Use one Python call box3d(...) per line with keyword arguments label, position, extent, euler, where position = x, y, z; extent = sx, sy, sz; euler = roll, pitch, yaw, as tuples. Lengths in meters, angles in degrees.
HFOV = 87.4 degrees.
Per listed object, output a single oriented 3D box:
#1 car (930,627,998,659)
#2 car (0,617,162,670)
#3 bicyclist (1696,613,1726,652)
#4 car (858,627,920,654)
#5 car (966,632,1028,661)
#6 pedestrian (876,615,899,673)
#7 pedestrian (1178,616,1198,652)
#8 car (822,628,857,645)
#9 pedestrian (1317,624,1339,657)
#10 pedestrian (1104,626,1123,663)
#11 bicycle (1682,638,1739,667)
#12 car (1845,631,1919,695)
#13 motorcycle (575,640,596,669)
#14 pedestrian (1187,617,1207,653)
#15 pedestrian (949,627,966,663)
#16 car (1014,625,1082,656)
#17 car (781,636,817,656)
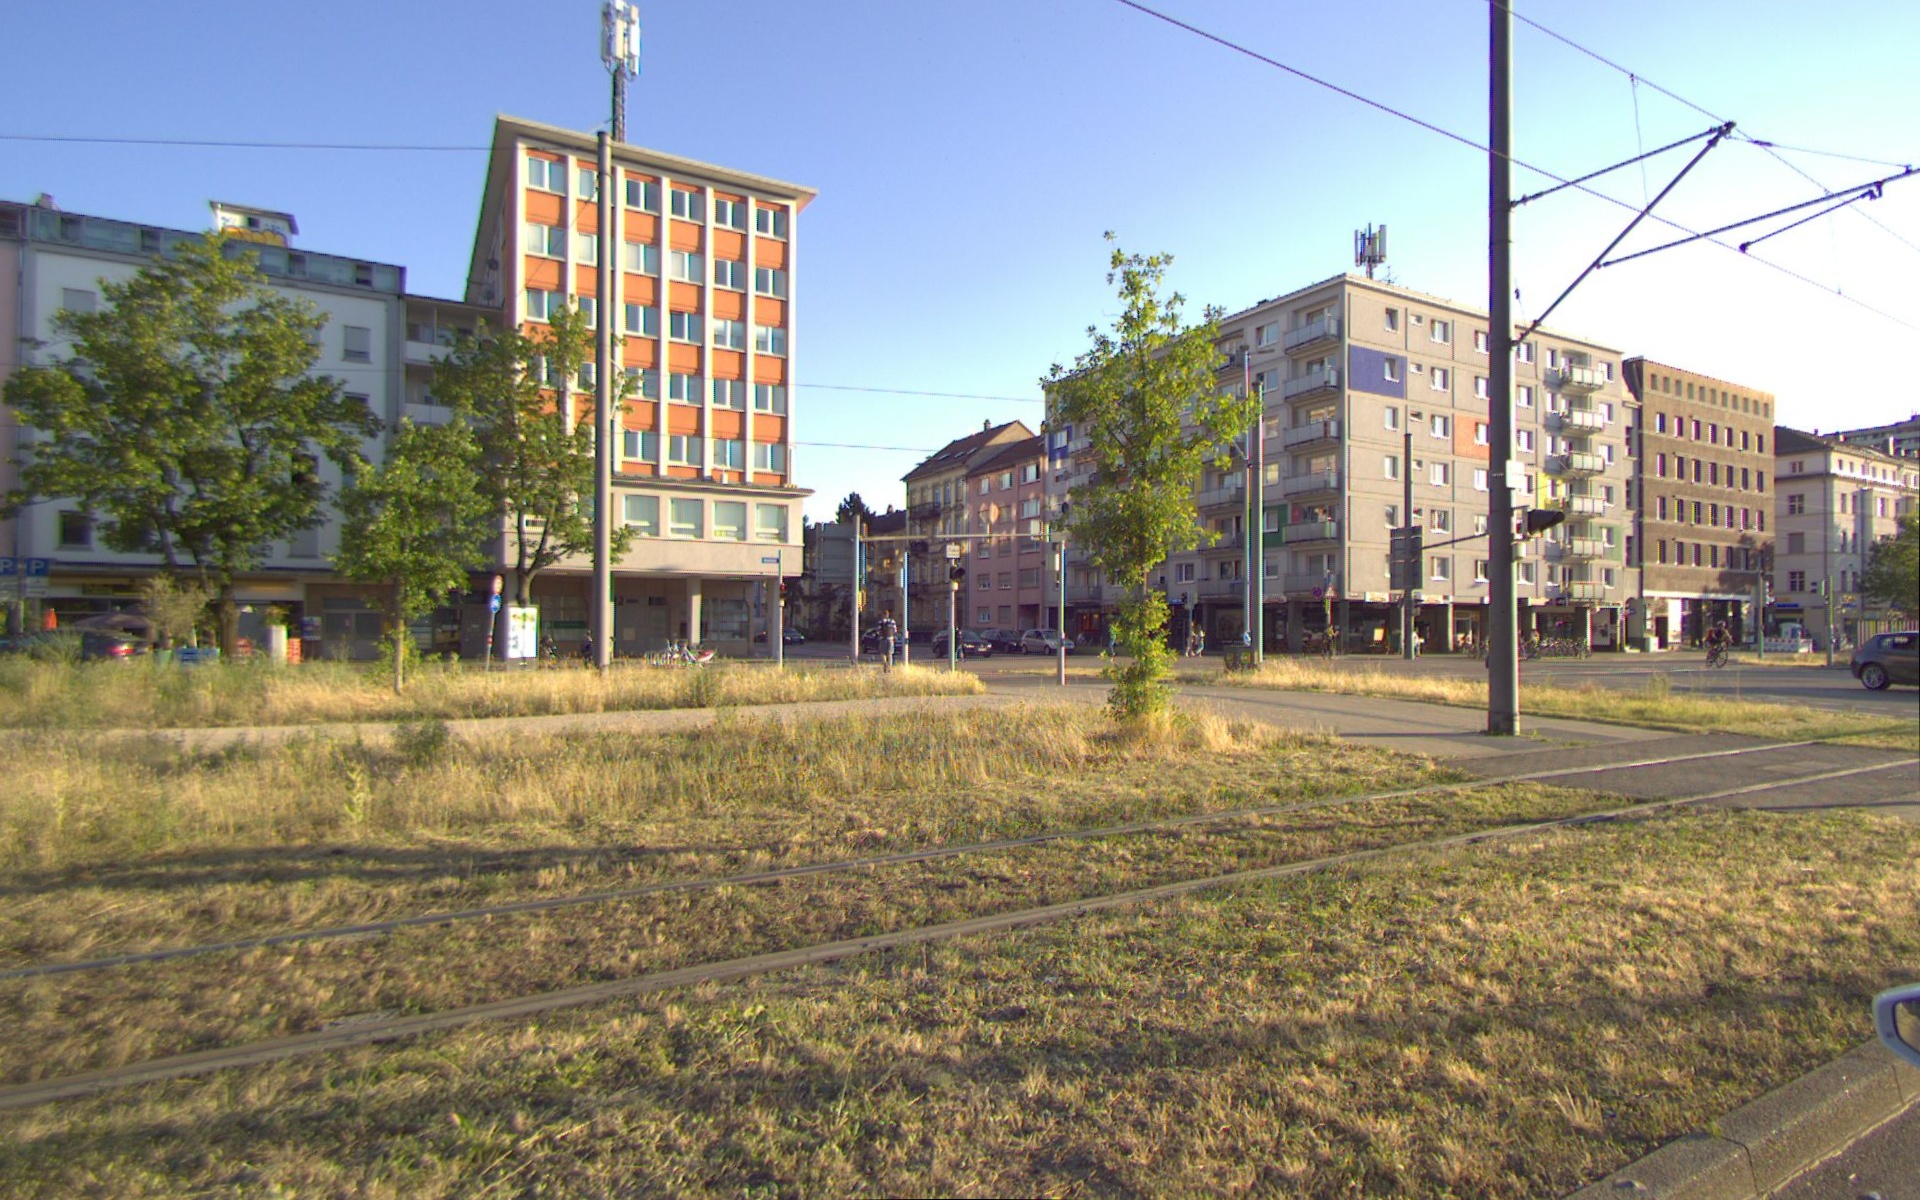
box3d(label="car", position=(0.179, 2.271, 53.561), extent=(1.785, 1.606, 3.840), euler=(0, -1, -35))
box3d(label="car", position=(-27.780, 1.342, 31.320), extent=(4.212, 1.547, 1.758), euler=(-1, -1, -8))
box3d(label="bicyclist", position=(28.884, 1.234, 38.647), extent=(0.844, 1.462, 0.659), euler=(1, 2, 42))
box3d(label="car", position=(-4.445, 2.512, 62.710), extent=(1.969, 1.606, 4.252), euler=(0, -1, -35))
box3d(label="car", position=(2.206, 2.788, 60.621), extent=(1.785, 1.606, 3.840), euler=(0, -1, -35))
box3d(label="pedestrian", position=(-2.266, 1.351, 31.260), extent=(0.638, 1.786, 0.721), euler=(-1, -1, -9))
box3d(label="pedestrian", position=(12.016, 1.802, 52.863), extent=(0.728, 1.876, 0.701), euler=(-1, -1, -30))
box3d(label="car", position=(-11.966, 3.602, 99.503), extent=(1.785, 1.606, 3.840), euler=(0, -1, -35))
box3d(label="pedestrian", position=(19.254, 2.089, 52.571), extent=(0.771, 1.692, 0.737), euler=(-1, -1, -22))
box3d(label="pedestrian", position=(7.895, 2.283, 51.620), extent=(0.673, 1.872, 0.630), euler=(-1, -1, -30))
box3d(label="bicycle", position=(28.879, 2.001, 38.665), extent=(1.709, 0.983, 0.700), euler=(2, 3, 42))
box3d(label="car", position=(22.775, 1.435, 22.779), extent=(1.686, 1.453, 3.998), euler=(0, -2, -5))
box3d(label="motorcycle", position=(-14.848, 2.143, 39.778), extent=(0.525, 1.082, 1.443), euler=(0, -1, -31))
box3d(label="pedestrian", position=(12.289, 1.804, 52.071), extent=(0.812, 1.872, 0.599), euler=(-1, -1, -30))
box3d(label="pedestrian", position=(-0.134, 2.089, 46.773), extent=(0.608, 1.651, 0.512), euler=(-1, -1, -30))
box3d(label="car", position=(4.913, 2.261, 56.742), extent=(1.785, 1.606, 3.840), euler=(0, -1, -35))
box3d(label="car", position=(-13.868, 3.933, 86.432), extent=(1.803, 1.572, 3.969), euler=(0, -1, -29))
